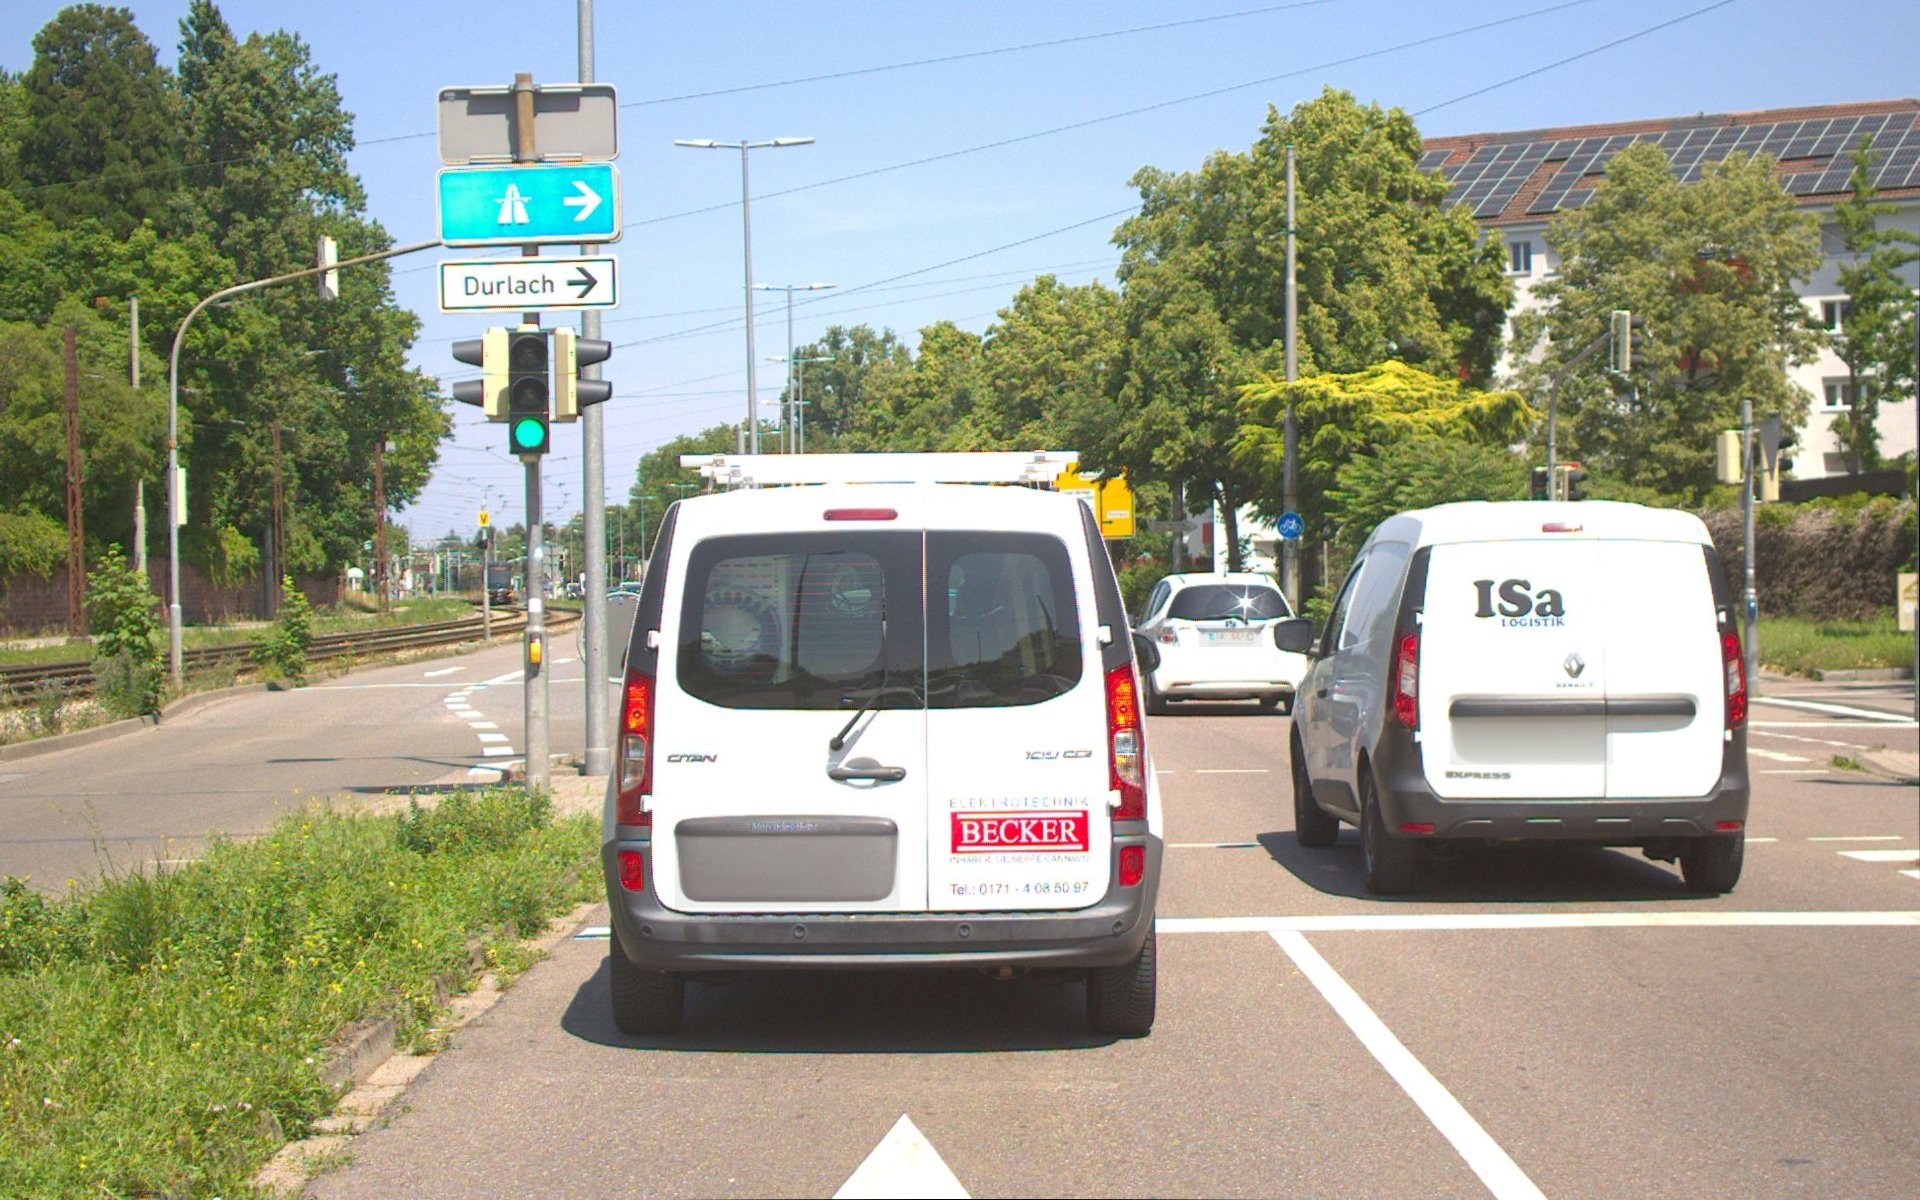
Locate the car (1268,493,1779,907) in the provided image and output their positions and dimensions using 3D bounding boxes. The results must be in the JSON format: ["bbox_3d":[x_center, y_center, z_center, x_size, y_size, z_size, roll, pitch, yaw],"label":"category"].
[{"bbox_3d":[2.632,0.423,16.979,1.727,1.782,4.064,1,0,-2],"label":"car"}]

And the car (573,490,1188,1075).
[{"bbox_3d":[-0.267,0.523,12.483,1.821,1.734,4.396,1,1,-1],"label":"car"}]

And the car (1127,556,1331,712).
[{"bbox_3d":[2.870,0.320,37.443,1.835,1.563,4.000,1,1,-1],"label":"car"}]

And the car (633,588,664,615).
[{"bbox_3d":[-17.835,0.079,196.698,1.697,1.507,4.067,-1,1,-6],"label":"car"}]
